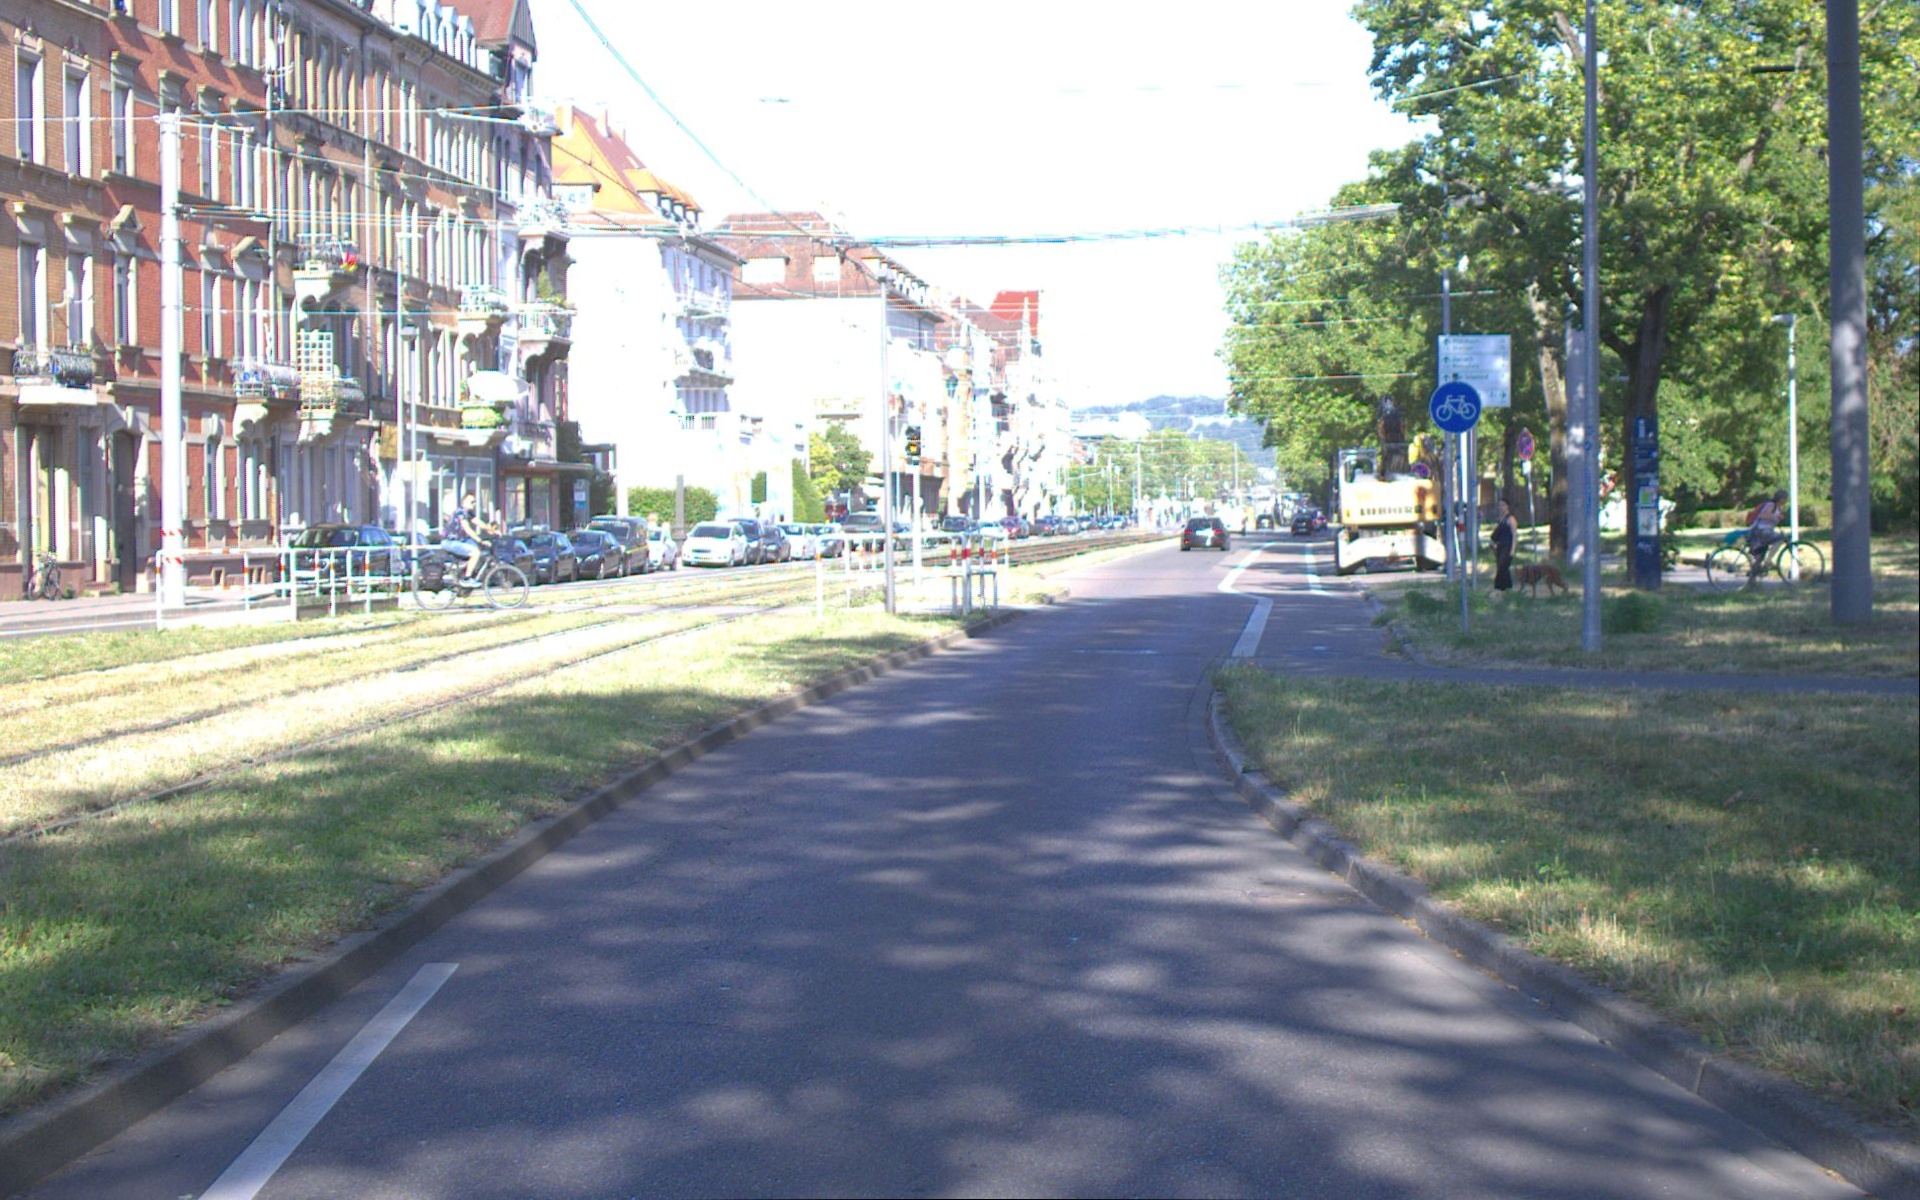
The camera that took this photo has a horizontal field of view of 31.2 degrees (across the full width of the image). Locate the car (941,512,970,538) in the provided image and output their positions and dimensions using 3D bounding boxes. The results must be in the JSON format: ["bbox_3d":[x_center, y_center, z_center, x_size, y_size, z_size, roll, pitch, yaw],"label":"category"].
[{"bbox_3d":[-0.275,-4.739,217.020,1.527,1.555,3.223,1,3,5],"label":"car"}]

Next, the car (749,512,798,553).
[{"bbox_3d":[-7.529,-2.745,139.106,1.527,1.555,3.223,1,3,5],"label":"car"}]

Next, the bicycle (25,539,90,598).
[{"bbox_3d":[-18.578,-0.656,70.793,0.699,1.176,1.751,1,2,6],"label":"bicycle"}]

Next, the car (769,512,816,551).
[{"bbox_3d":[-7.071,-2.911,145.627,1.527,1.555,3.223,1,3,5],"label":"car"}]

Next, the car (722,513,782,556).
[{"bbox_3d":[-8.070,-2.569,133.593,1.741,1.555,3.767,1,3,5],"label":"car"}]

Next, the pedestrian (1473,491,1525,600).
[{"bbox_3d":[8.316,-0.841,53.077,0.660,1.641,0.862,-3,1,6],"label":"pedestrian"}]

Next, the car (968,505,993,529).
[{"bbox_3d":[1.456,-5.842,242.748,1.527,1.604,3.223,1,3,5],"label":"car"}]

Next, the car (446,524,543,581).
[{"bbox_3d":[-12.632,-1.301,93.436,1.777,1.401,3.909,1,3,5],"label":"car"}]

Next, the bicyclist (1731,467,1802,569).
[{"bbox_3d":[12.012,-1.223,51.230,0.903,1.491,0.766,-1,2,3],"label":"bicyclist"}]

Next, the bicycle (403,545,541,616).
[{"bbox_3d":[-7.524,-0.309,53.018,1.953,1.037,0.767,-2,2,-23],"label":"bicycle"}]

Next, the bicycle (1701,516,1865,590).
[{"bbox_3d":[12.250,-0.706,51.229,2.260,1.037,0.766,-1,2,3],"label":"bicycle"}]

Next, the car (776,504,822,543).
[{"bbox_3d":[-7.004,-3.336,149.580,1.527,1.555,3.223,1,3,5],"label":"car"}]

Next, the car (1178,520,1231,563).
[{"bbox_3d":[9.937,-2.379,139.669,1.994,1.678,3.999,1,2,6],"label":"car"}]

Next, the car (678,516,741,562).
[{"bbox_3d":[-9.370,-2.302,128.950,1.741,1.555,3.767,1,3,5],"label":"car"}]

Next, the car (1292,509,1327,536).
[{"bbox_3d":[24.646,-5.456,242.489,1.993,1.853,4.000,1,2,-1],"label":"car"}]

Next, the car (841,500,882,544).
[{"bbox_3d":[-4.953,-3.942,173.410,1.658,2.132,3.525,1,3,5],"label":"car"}]

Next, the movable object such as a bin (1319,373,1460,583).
[{"bbox_3d":[11.207,-3.156,90.450,3.087,5.071,8.891,-3,1,5],"label":"movable object such as a bin"}]

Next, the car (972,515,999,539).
[{"bbox_3d":[1.741,-4.967,233.833,1.527,1.555,3.223,1,3,5],"label":"car"}]

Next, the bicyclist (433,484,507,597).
[{"bbox_3d":[-7.557,-0.922,52.989,0.919,1.709,0.767,-2,2,-23],"label":"bicyclist"}]

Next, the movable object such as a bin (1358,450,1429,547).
[{"bbox_3d":[14.137,-3.313,112.395,1.968,3.002,4.796,-3,1,5],"label":"movable object such as a bin"}]

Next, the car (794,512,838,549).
[{"bbox_3d":[-6.463,-3.113,154.508,1.527,1.555,3.223,1,3,5],"label":"car"}]

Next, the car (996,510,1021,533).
[{"bbox_3d":[3.600,-5.851,255.006,1.527,1.604,3.223,1,3,5],"label":"car"}]

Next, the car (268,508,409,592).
[{"bbox_3d":[-14.224,-1.178,78.918,2.016,1.748,4.558,1,3,5],"label":"car"}]
